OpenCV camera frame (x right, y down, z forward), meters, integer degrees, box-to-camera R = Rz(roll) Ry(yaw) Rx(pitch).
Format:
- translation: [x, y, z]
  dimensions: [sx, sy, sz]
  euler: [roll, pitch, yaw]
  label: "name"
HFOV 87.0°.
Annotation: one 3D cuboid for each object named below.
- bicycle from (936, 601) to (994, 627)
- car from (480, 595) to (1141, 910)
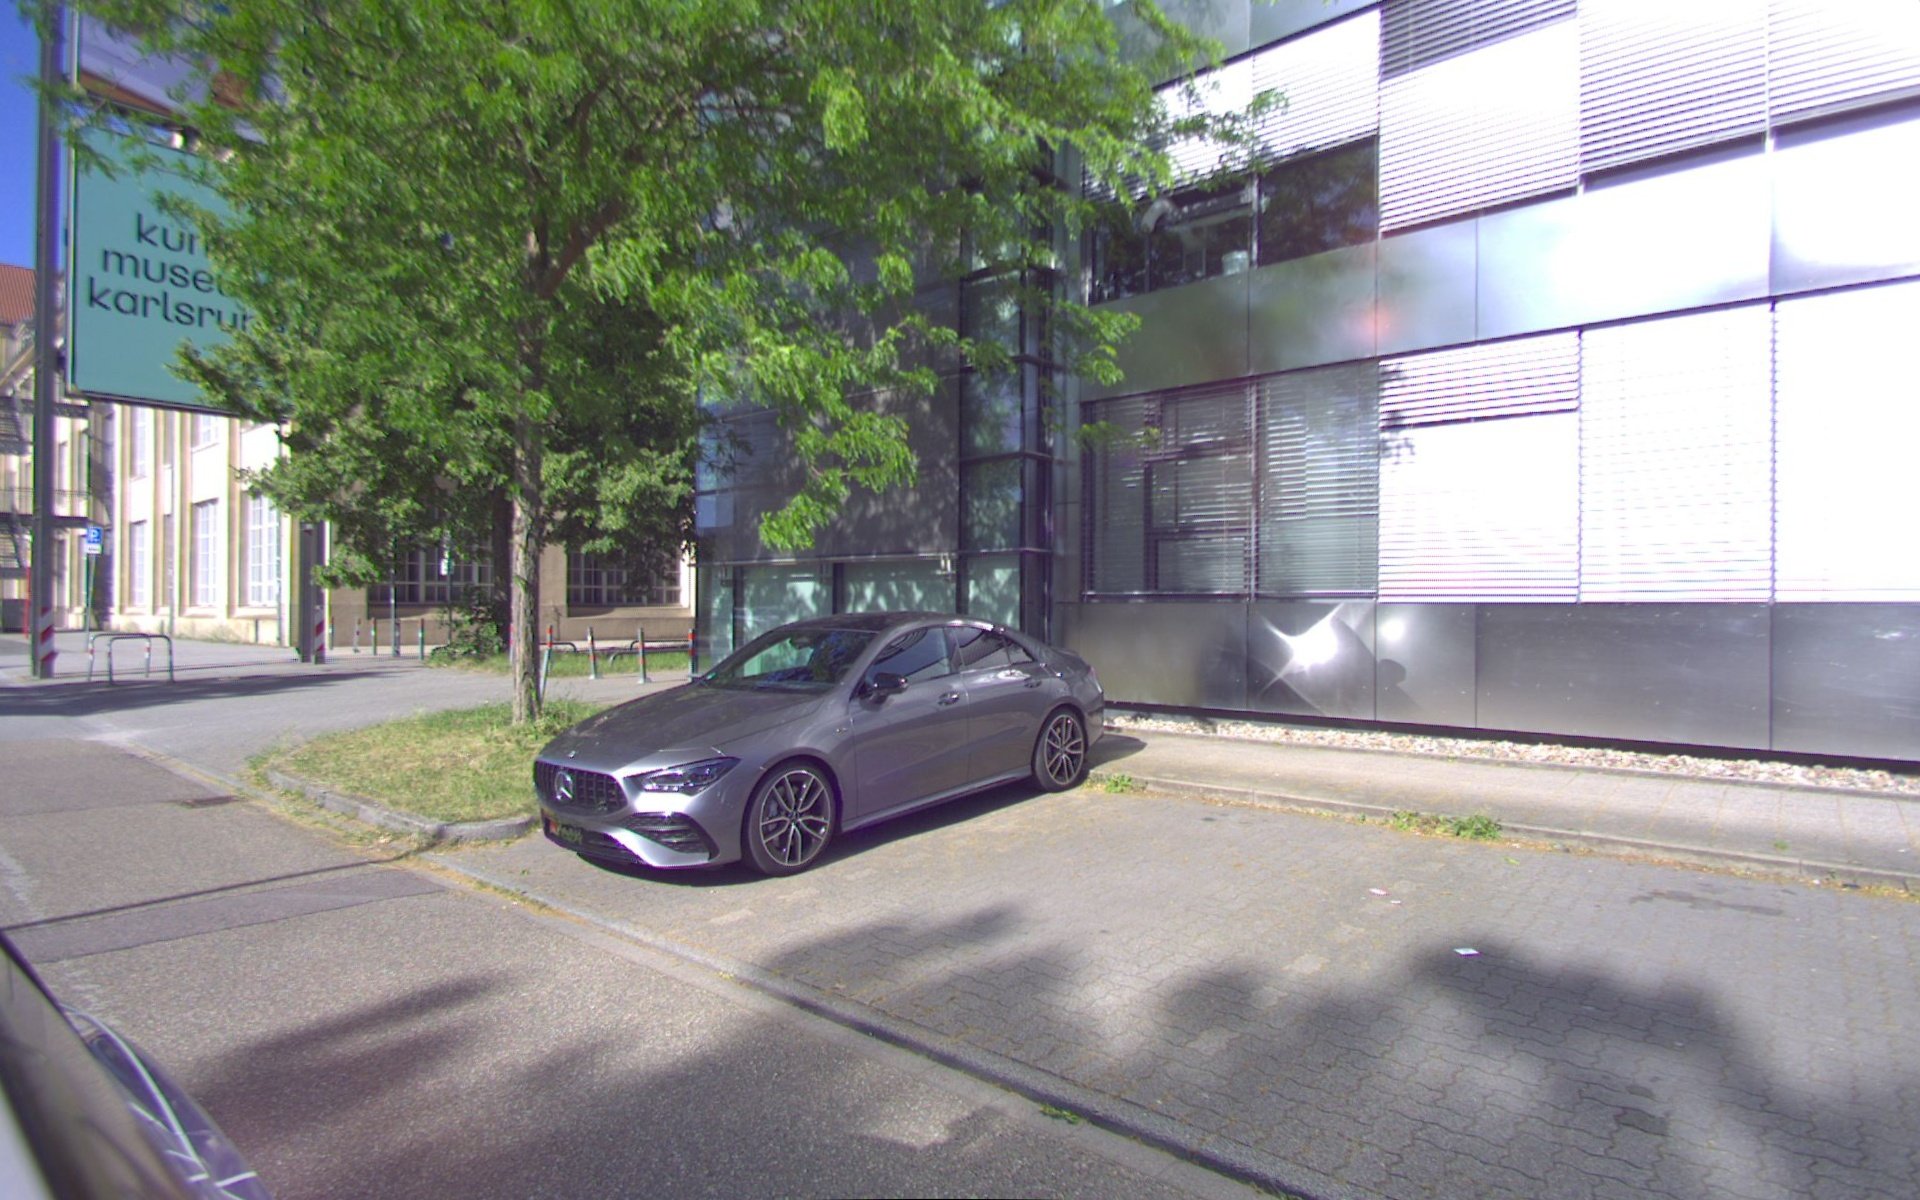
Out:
- translation: [0.219, 0.637, 46.672]
  dimensions: [2.805, 1.159, 0.710]
  euler: [-1, 0, 37]
  label: "bicycle"
- translation: [-0.691, 0.722, 7.152]
  dimensions: [1.891, 1.360, 4.489]
  euler: [0, 2, 40]
  label: "car"
